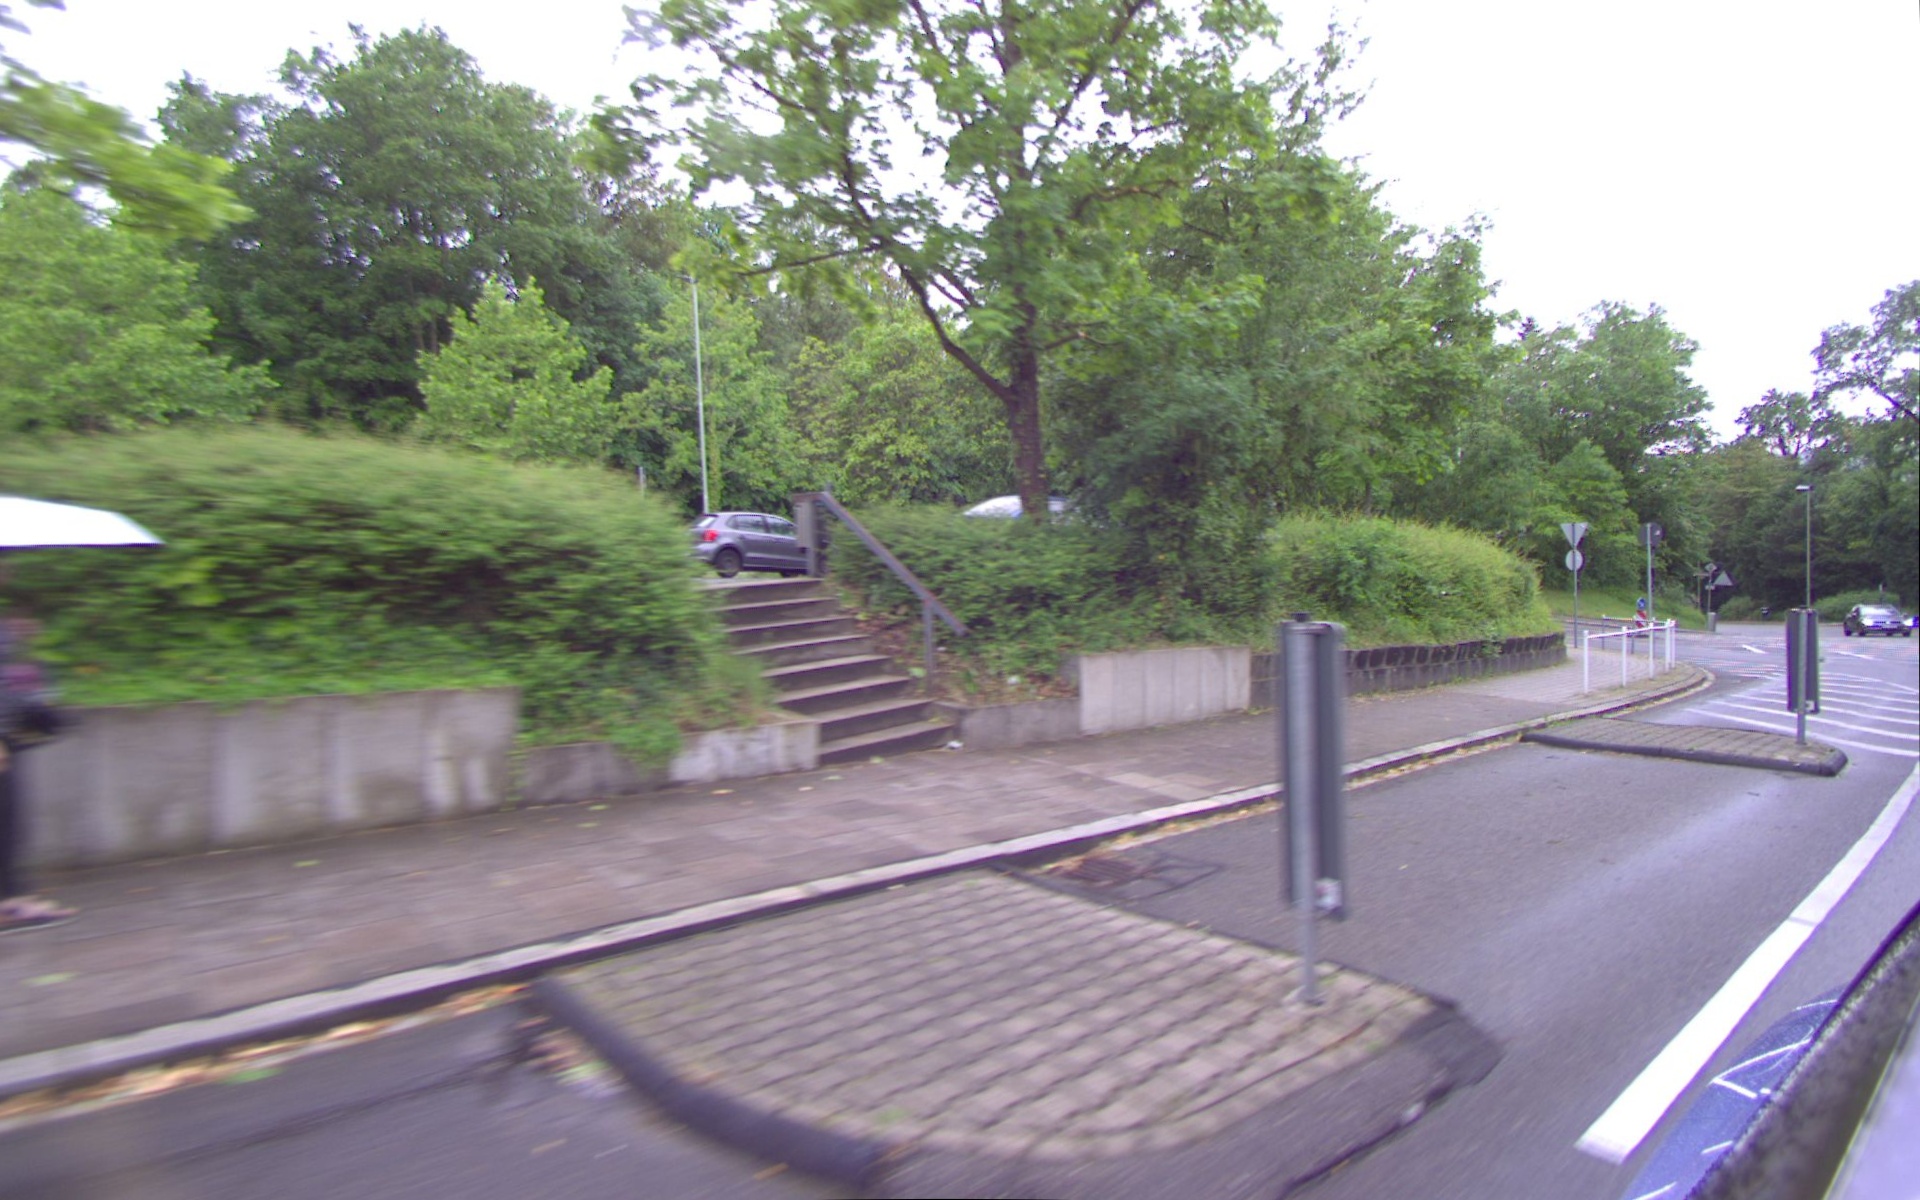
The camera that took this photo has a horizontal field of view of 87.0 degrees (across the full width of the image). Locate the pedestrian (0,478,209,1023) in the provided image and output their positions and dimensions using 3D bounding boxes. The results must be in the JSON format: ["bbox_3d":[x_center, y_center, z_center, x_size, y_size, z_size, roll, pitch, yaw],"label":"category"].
[{"bbox_3d":[-3.744,0.522,3.942,1.051,1.916,1.115,1,3,45],"label":"pedestrian"}]

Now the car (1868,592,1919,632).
[{"bbox_3d":[42.517,0.514,45.816,2.029,1.723,3.940,0,0,42],"label":"car"}]

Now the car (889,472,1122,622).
[{"bbox_3d":[0.749,-0.725,15.492,3.357,2.039,1.687,0,0,-41],"label":"car"}]

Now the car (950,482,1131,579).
[{"bbox_3d":[1.306,-1.017,15.768,1.307,1.325,2.831,0,0,45],"label":"car"}]

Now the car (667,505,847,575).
[{"bbox_3d":[-4.499,-1.282,22.676,3.617,1.393,1.664,-1,0,-41],"label":"car"}]
